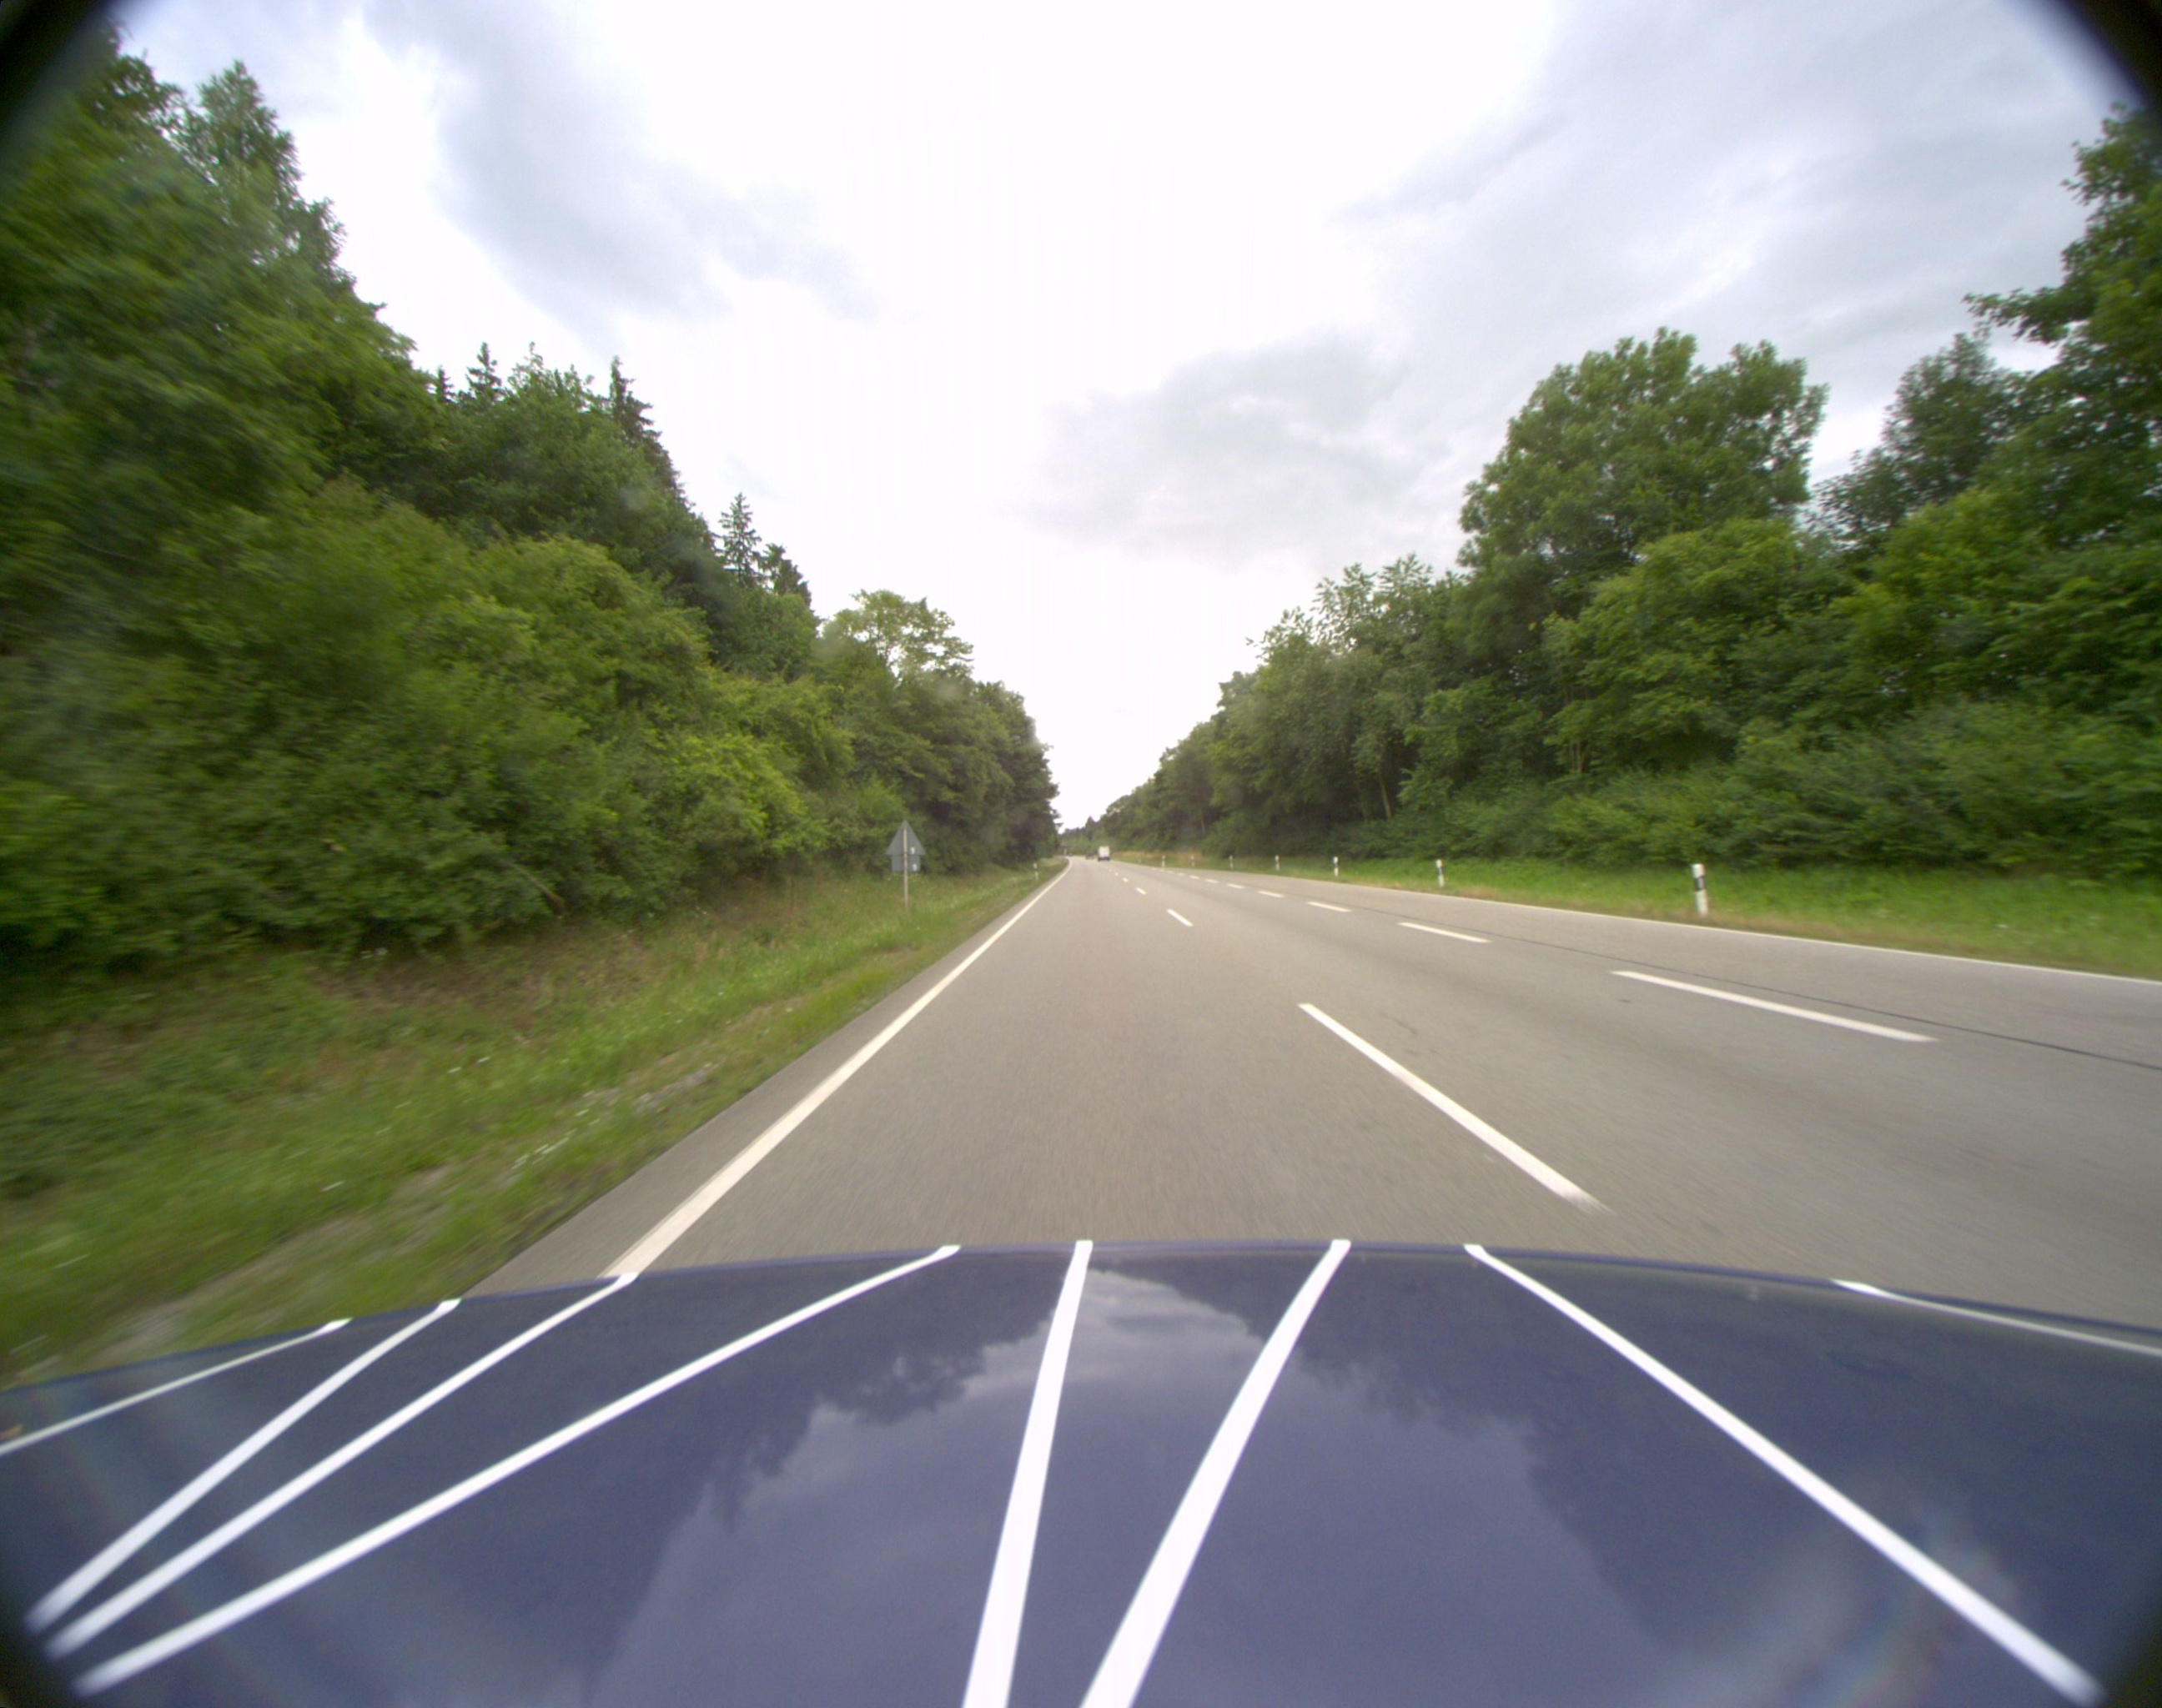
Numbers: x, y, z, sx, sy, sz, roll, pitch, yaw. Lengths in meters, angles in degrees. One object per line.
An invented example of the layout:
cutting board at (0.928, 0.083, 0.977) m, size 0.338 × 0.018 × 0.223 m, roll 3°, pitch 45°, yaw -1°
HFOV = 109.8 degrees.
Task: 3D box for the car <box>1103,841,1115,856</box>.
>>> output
car at (5.115, -0.963, 140.289) m, size 1.998 × 2.681 × 5.977 m, roll -2°, pitch 1°, yaw 0°
